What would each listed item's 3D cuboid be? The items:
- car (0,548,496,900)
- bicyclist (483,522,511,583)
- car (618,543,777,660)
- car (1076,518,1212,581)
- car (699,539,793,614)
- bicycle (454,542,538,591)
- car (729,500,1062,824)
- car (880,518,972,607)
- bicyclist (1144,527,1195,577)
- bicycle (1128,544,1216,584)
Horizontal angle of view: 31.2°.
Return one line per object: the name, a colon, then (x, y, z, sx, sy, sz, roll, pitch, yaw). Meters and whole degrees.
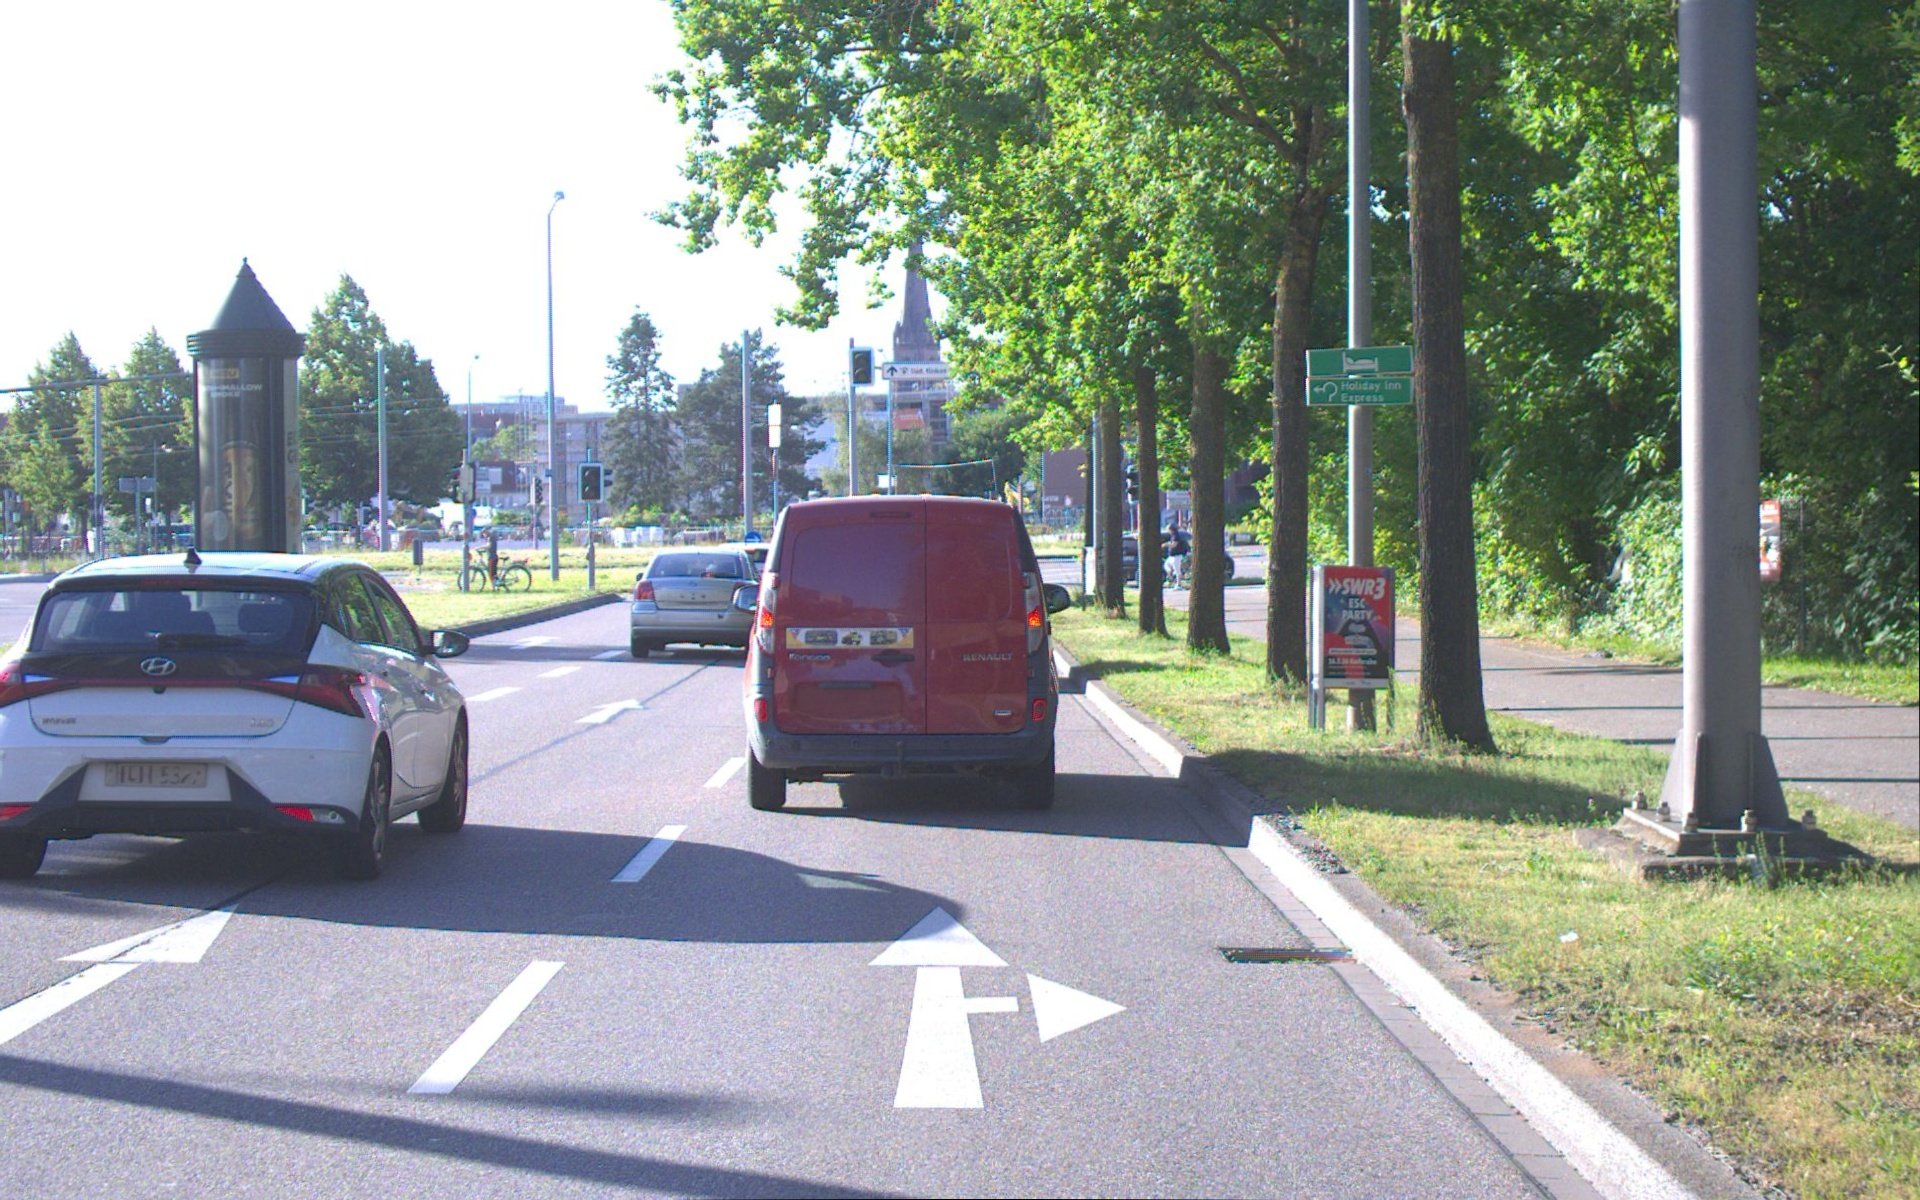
car: (-3.392, 0.492, 16.497, 1.778, 1.404, 4.075, 0, 2, 0)
bicyclist: (-11.247, -1.148, 83.497, 0.603, 1.463, 0.517, -1, 1, -1)
car: (-3.530, -0.017, 46.816, 1.841, 1.451, 4.163, 0, 2, 0)
car: (4.928, -1.344, 91.482, 1.775, 1.619, 3.918, 1, 1, 36)
car: (-4.243, -0.494, 68.558, 1.661, 1.393, 3.559, -1, 2, -1)
bicycle: (-11.264, -0.820, 83.507, 1.958, 1.162, 0.517, -1, 1, -1)
car: (-0.375, 0.282, 20.753, 1.806, 1.753, 4.006, 0, 2, -1)
car: (-0.676, -0.777, 70.474, 1.660, 1.756, 3.497, -1, 1, 3)
bicyclist: (5.235, -1.199, 85.962, 0.968, 1.245, 0.789, -2, 1, -32)
bicycle: (5.308, -0.908, 85.997, 2.119, 0.954, 0.789, -2, 1, -32)
